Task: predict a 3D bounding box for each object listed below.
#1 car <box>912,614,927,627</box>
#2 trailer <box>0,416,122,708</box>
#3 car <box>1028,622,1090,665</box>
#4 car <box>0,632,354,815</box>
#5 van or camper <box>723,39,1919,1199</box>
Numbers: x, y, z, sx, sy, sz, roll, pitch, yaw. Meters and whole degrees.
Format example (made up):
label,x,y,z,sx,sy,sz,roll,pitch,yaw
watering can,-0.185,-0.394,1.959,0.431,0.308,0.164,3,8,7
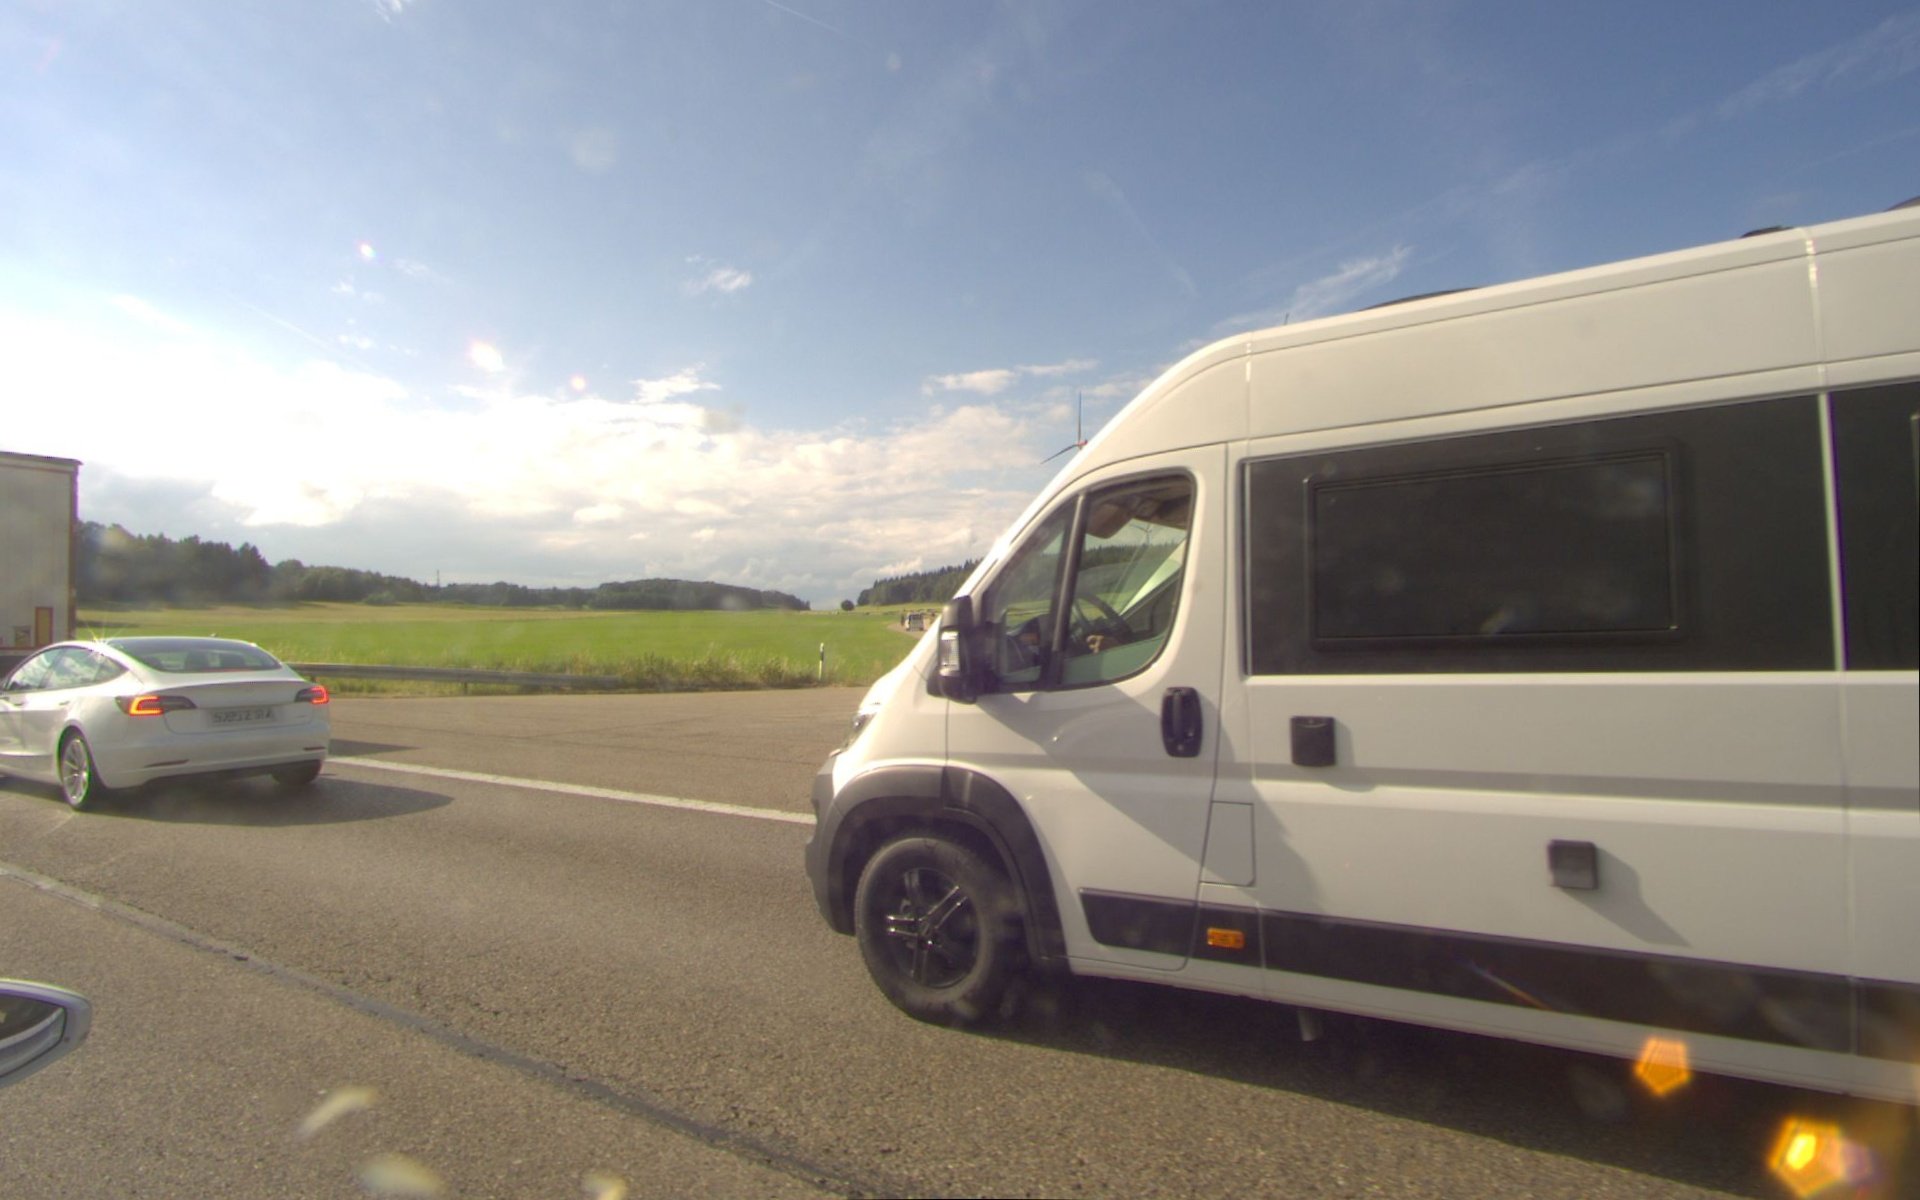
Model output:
label,x,y,z,sx,sy,sz,roll,pitch,yaw
car,-4.677,2.384,114.977,1.676,1.450,4.233,-1,-1,-4
trailer,-18.974,-0.299,17.366,13.182,4.061,3.124,-2,-2,33
car,3.529,1.543,36.446,1.676,1.450,4.233,-1,-1,-2
car,-7.993,1.024,9.706,4.371,1.412,1.786,-1,-1,31
van or camper,2.255,0.159,3.393,6.242,2.716,2.211,-1,-1,32
